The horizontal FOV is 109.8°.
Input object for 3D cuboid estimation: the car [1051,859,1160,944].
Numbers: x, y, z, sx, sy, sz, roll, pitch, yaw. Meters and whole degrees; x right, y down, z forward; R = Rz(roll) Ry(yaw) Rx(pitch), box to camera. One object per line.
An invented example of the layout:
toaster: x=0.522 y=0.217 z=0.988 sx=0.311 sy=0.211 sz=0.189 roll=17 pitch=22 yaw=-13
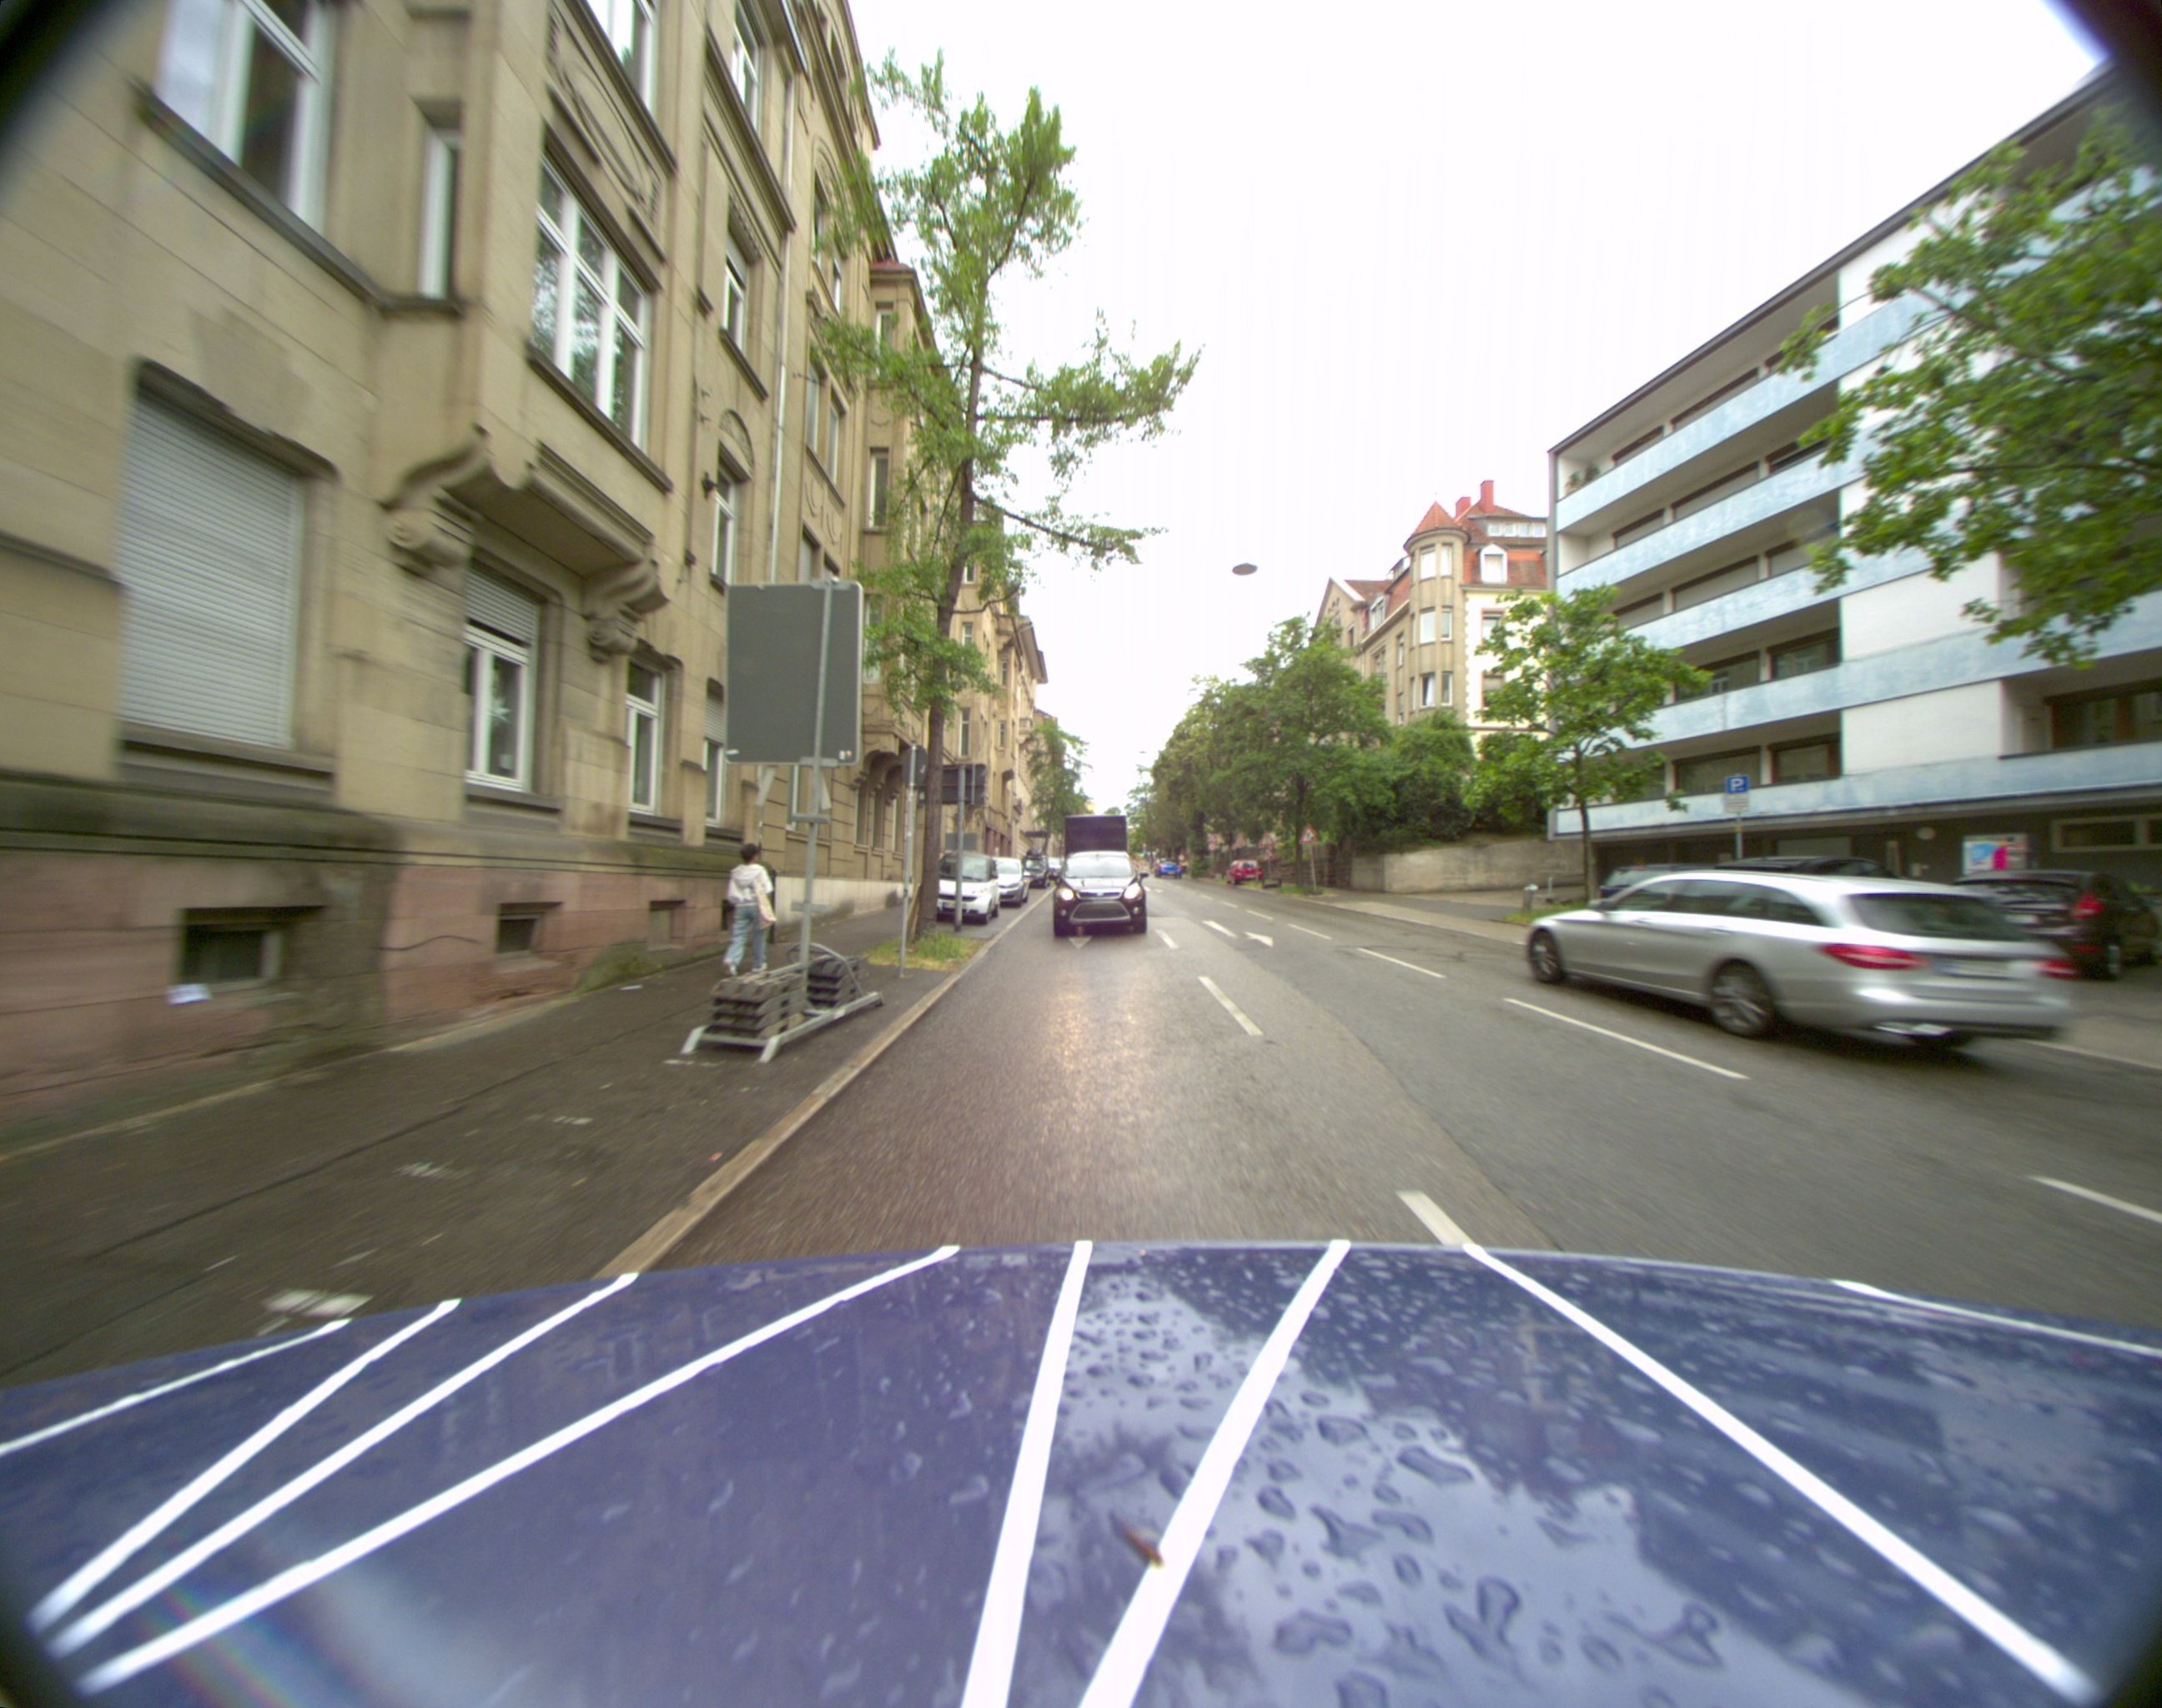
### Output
car: x=0.372 y=0.873 z=15.459 sx=1.863 sy=1.503 sz=3.681 roll=1 pitch=0 yaw=-3

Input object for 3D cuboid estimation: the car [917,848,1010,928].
car: x=-2.699 y=0.741 z=18.165 sx=1.526 sy=1.608 sz=3.494 roll=4 pitch=0 yaw=1

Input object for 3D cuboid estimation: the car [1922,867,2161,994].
car: x=14.202 y=0.983 z=11.183 sx=3.842 sy=1.397 sz=1.676 roll=-3 pitch=1 yaw=-30

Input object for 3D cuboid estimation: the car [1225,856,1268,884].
car: x=9.650 y=0.914 z=44.548 sx=1.752 sy=1.497 sz=3.887 roll=3 pitch=0 yaw=3

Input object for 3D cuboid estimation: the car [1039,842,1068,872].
car: x=-1.701 y=0.181 z=47.700 sx=1.547 sy=1.699 sz=3.763 roll=4 pitch=0 yaw=1

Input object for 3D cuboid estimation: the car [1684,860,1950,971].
car: x=12.808 y=0.956 z=13.227 sx=4.317 sy=1.583 sz=1.808 roll=-1 pitch=1 yaw=-23

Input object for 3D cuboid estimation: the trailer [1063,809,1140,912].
trailer: x=0.597 y=0.213 z=21.605 sx=1.938 sy=2.621 sz=4.685 roll=0 pitch=-1 yaw=2

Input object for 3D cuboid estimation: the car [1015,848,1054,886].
car: x=-2.292 y=0.623 z=38.051 sx=1.547 sy=1.699 sz=3.763 roll=4 pitch=0 yaw=1

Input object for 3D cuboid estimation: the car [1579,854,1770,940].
car: x=12.714 y=0.830 z=16.255 sx=3.841 sy=1.523 sz=1.767 roll=-2 pitch=1 yaw=-27

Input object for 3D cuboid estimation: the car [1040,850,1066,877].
car: x=-1.917 y=0.648 z=53.593 sx=1.547 sy=1.699 sz=3.763 roll=4 pitch=0 yaw=1

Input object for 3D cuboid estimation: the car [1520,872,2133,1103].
car: x=6.460 y=0.984 z=7.477 sx=1.730 sy=1.439 sz=4.325 roll=3 pitch=0 yaw=1

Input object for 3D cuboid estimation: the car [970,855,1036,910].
car: x=-2.387 y=0.824 z=23.940 sx=1.547 sy=1.478 sz=3.763 roll=4 pitch=0 yaw=1

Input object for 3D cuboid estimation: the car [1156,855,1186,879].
car: x=6.751 y=0.933 z=57.369 sx=1.794 sy=1.655 sz=3.887 roll=3 pitch=0 yaw=2

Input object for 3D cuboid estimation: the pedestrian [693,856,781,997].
pedestrian: x=-3.923 y=0.800 z=8.711 sx=0.644 sy=1.488 sz=0.690 roll=4 pitch=4 yaw=0
